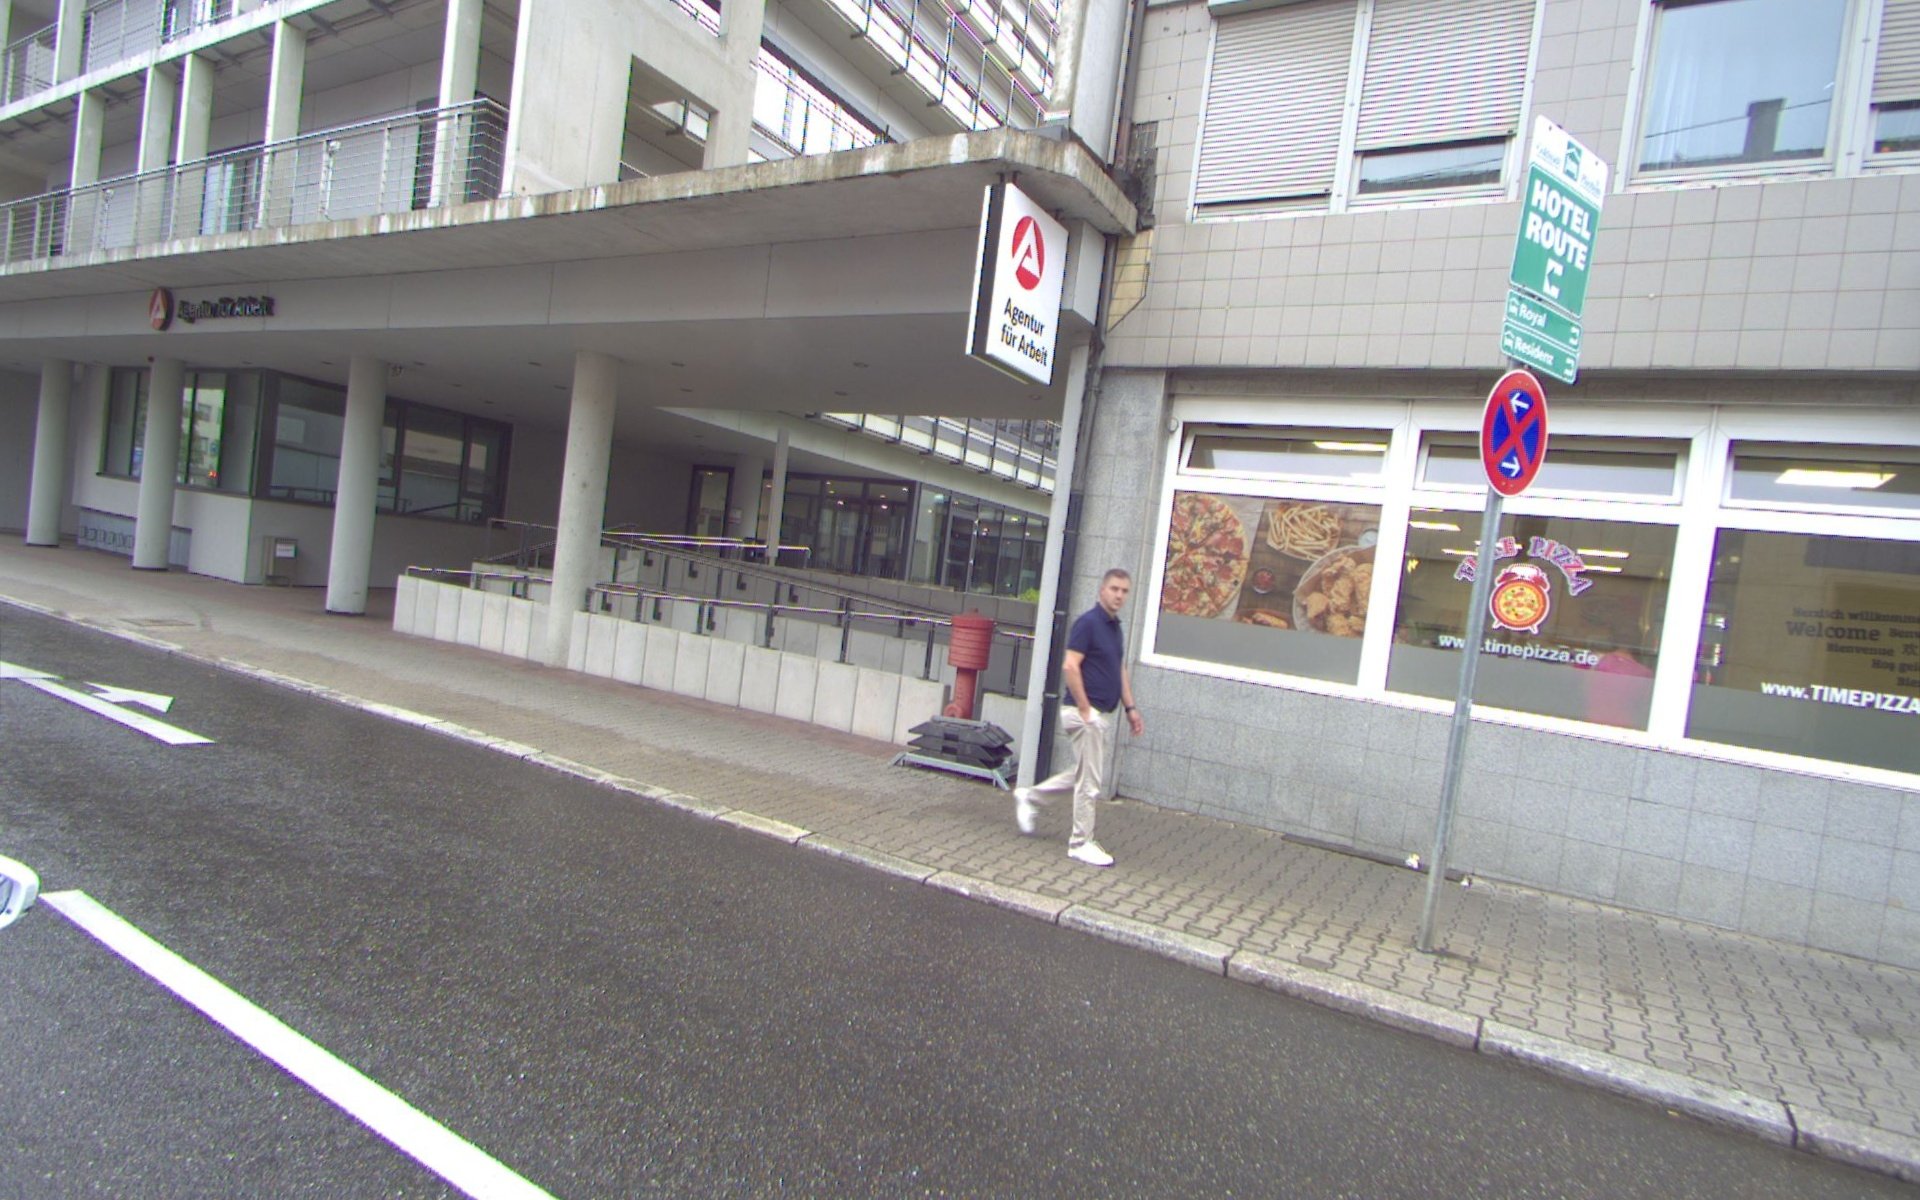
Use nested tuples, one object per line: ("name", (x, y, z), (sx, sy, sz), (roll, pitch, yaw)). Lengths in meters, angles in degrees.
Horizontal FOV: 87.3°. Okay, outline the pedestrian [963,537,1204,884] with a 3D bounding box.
("pedestrian", (0.767, 0.603, 6.262), (1.101, 1.893, 0.868), (6, 5, 32))
